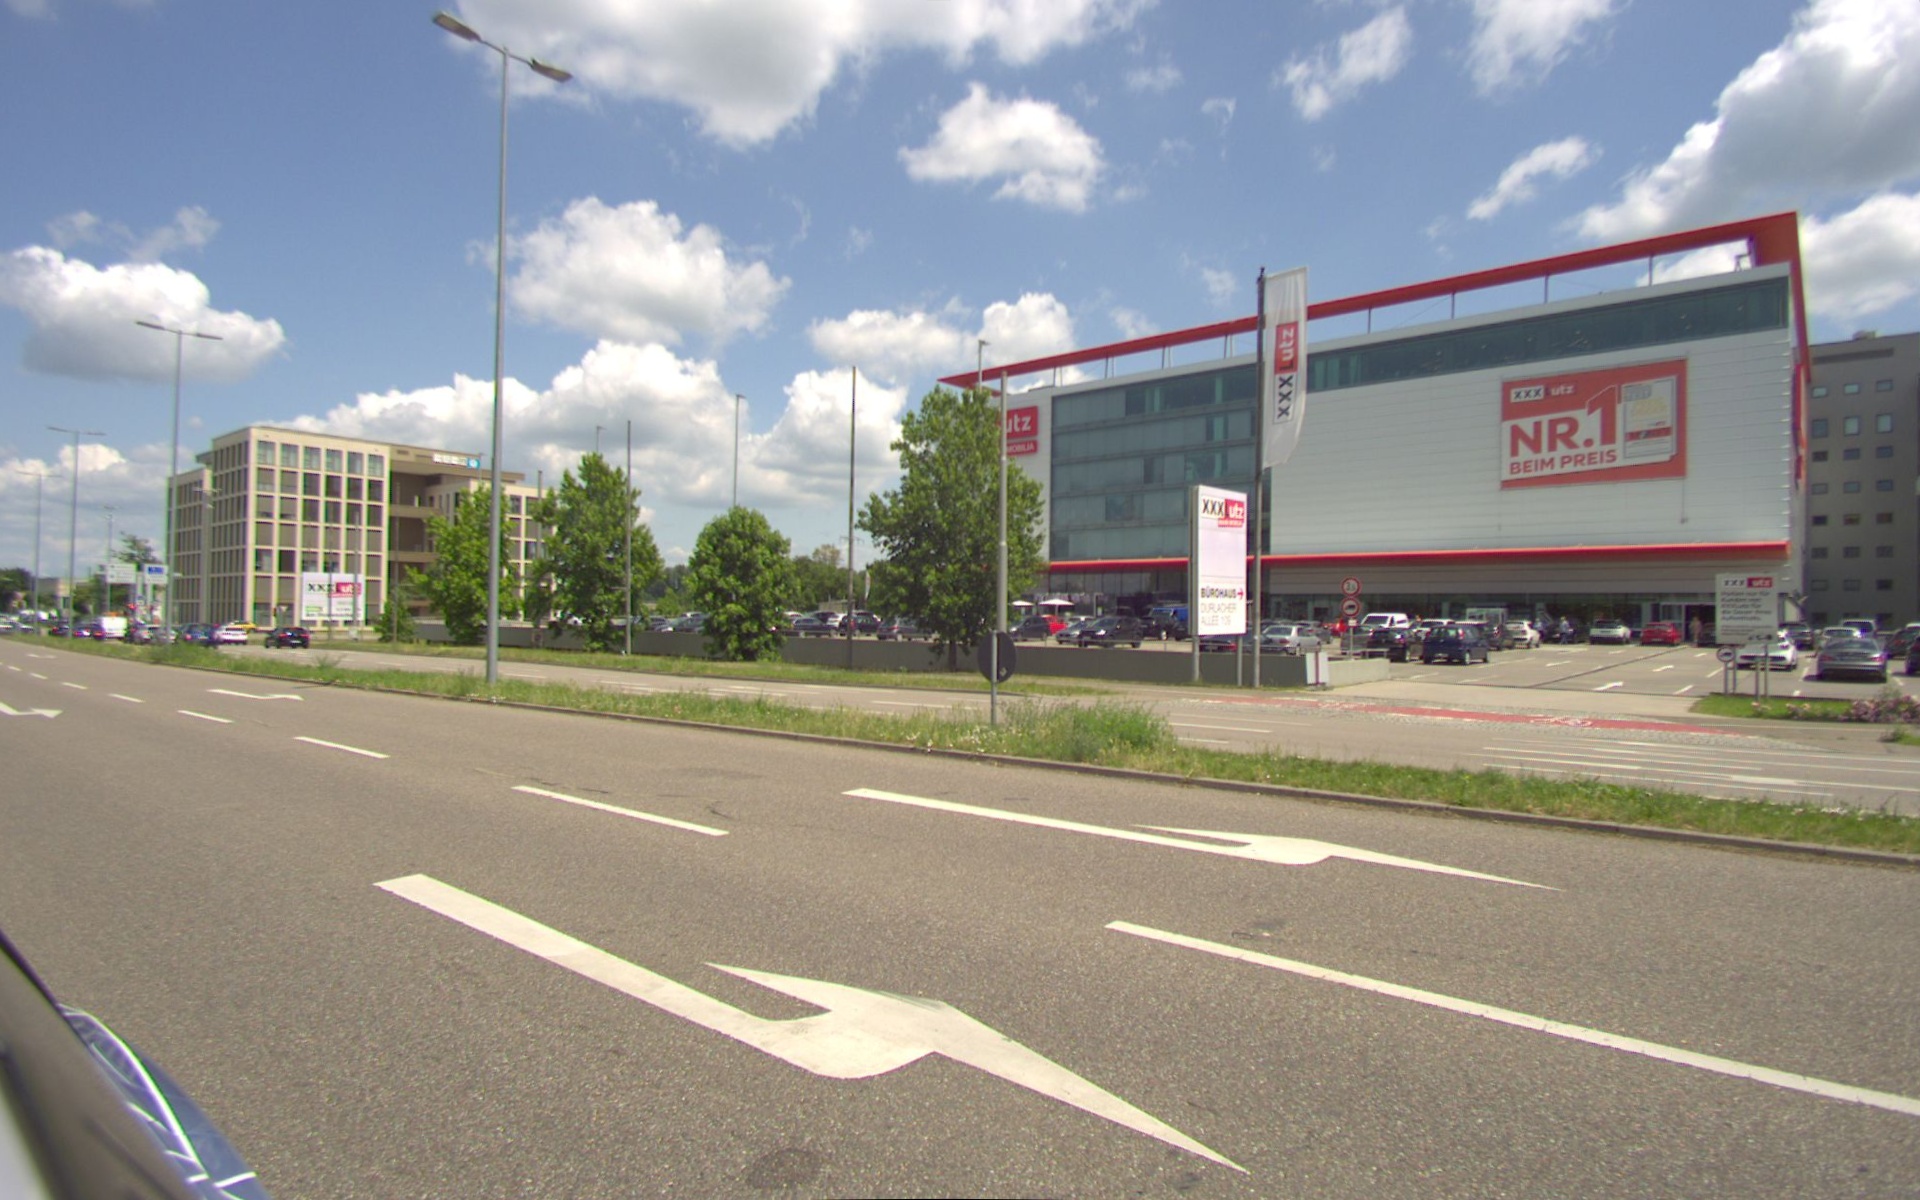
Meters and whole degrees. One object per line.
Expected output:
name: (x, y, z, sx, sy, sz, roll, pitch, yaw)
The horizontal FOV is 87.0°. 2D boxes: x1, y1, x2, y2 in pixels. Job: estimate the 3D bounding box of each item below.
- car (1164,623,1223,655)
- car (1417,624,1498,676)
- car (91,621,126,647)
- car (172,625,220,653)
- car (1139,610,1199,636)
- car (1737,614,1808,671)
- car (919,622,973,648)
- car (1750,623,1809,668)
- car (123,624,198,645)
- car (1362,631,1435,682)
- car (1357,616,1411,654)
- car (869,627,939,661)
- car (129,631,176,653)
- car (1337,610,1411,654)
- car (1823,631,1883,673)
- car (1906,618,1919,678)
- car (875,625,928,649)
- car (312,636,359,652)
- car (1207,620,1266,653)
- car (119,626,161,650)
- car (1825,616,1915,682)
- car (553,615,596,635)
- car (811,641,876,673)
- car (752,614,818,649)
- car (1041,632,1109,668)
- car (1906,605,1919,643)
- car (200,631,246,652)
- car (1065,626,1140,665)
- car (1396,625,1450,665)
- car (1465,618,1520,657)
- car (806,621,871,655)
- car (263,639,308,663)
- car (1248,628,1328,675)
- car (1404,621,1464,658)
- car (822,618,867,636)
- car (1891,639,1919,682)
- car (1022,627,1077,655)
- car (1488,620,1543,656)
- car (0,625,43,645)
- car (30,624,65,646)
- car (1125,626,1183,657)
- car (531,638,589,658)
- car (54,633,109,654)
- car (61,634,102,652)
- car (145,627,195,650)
car: (15.288, 2.542, 66.185, 1.999, 2.004, 4.304, -1, -3, 40)
car: (20.509, 2.011, 41.625, 1.999, 2.004, 4.304, -1, -2, 40)
car: (-70.447, 2.846, 83.714, 3.577, 2.059, 1.836, -3, -4, 45)
car: (-44.428, 2.261, 58.856, 1.719, 1.486, 3.678, 3, -3, -45)
car: (15.319, 1.704, 73.911, 2.197, 1.792, 5.065, -2, -3, 39)
car: (31.244, 1.607, 38.867, 1.999, 2.004, 4.304, 1, -1, 40)
car: (-1.072, 2.813, 80.393, 1.999, 2.004, 4.304, -1, -3, 40)
car: (38.295, 2.097, 47.257, 1.999, 2.004, 4.304, -1, -3, 40)
car: (-94.620, 4.134, 119.911, 6.422, 2.347, 2.862, 1, -4, -27)
car: (18.819, 2.350, 43.366, 1.841, 2.004, 4.030, -1, -1, 40)
car: (26.824, 2.216, 63.922, 1.868, 2.324, 4.509, -1, -3, 40)
car: (-3.455, 2.743, 62.990, 1.998, 2.004, 4.304, -3, -4, 40)
car: (-55.410, 2.880, 69.432, 4.845, 1.413, 1.772, -2, -5, 43)
car: (19.911, 1.548, 48.584, 1.998, 2.029, 4.764, -1, -3, 39)
car: (42.516, 2.453, 48.238, 1.999, 1.896, 4.304, -1, -3, 40)
car: (34.423, 1.671, 35.166, 1.999, 2.004, 4.304, -1, -3, 40)
car: (-4.817, 3.067, 83.996, 1.999, 2.004, 4.304, -1, -3, 40)
car: (-71.044, 5.016, 115.195, 1.862, 1.741, 4.136, 0, -1, 39)
car: (17.631, 2.304, 64.406, 1.999, 2.004, 4.304, -1, -3, 40)
car: (-60.227, 2.791, 74.300, 4.227, 1.714, 1.772, -3, -4, 43)
car: (29.615, 1.572, 33.056, 1.999, 2.004, 4.304, -1, -3, 40)
car: (-37.200, 2.413, 97.689, 4.671, 1.847, 1.831, -2, -3, 41)
car: (-7.678, 3.743, 66.746, 1.999, 2.029, 3.946, -2, -3, 40)
car: (-12.254, 2.237, 71.157, 1.999, 2.347, 4.304, -1, -3, 40)
car: (6.842, 2.943, 59.998, 1.999, 2.065, 4.304, -1, -3, 40)
car: (51.899, 1.307, 53.981, 2.000, 2.004, 4.029, -1, -3, 42)
car: (-55.478, 3.126, 76.169, 4.351, 1.484, 1.604, -2, -3, 37)
car: (7.614, 2.408, 53.713, 1.999, 2.004, 4.304, -1, -3, 40)
car: (28.454, 2.734, 62.094, 1.868, 2.324, 4.509, -1, -3, 40)
car: (28.660, 2.027, 54.429, 1.776, 2.029, 3.946, -2, -3, 40)
car: (-8.462, 2.653, 70.811, 1.999, 2.347, 4.304, -1, -3, 40)
car: (-43.798, 3.275, 65.670, 4.118, 1.481, 1.601, -2, -4, 45)
car: (14.988, 2.315, 46.161, 1.999, 2.004, 4.304, -1, -3, 40)
car: (26.502, 2.199, 56.477, 1.999, 2.004, 4.304, -1, -3, 40)
car: (-10.164, 2.412, 89.254, 1.681, 1.481, 3.779, -2, -3, 43)
car: (44.622, 2.781, 46.856, 1.999, 1.896, 4.304, -1, -3, 40)
car: (6.669, 3.019, 75.224, 1.999, 2.004, 4.304, -1, -3, 40)
car: (31.950, 2.178, 58.151, 1.999, 2.029, 3.946, -2, -3, 40)
car: (-83.327, 3.112, 88.898, 1.859, 1.704, 3.943, -2, -3, 43)
car: (-73.028, 2.825, 80.968, 4.172, 1.657, 1.771, -3, -4, 45)
car: (13.038, 2.776, 67.781, 1.999, 2.004, 4.304, -1, -3, 40)
car: (-32.502, 3.918, 82.368, 1.919, 1.608, 3.942, -2, -3, 44)
car: (-67.688, 3.340, 77.978, 3.747, 1.572, 1.783, -1, -3, 24)
car: (-63.641, 3.094, 73.306, 4.307, 1.260, 1.772, -2, -4, 43)
car: (-50.703, 2.460, 64.926, 4.674, 1.429, 1.772, -2, -3, 43)
